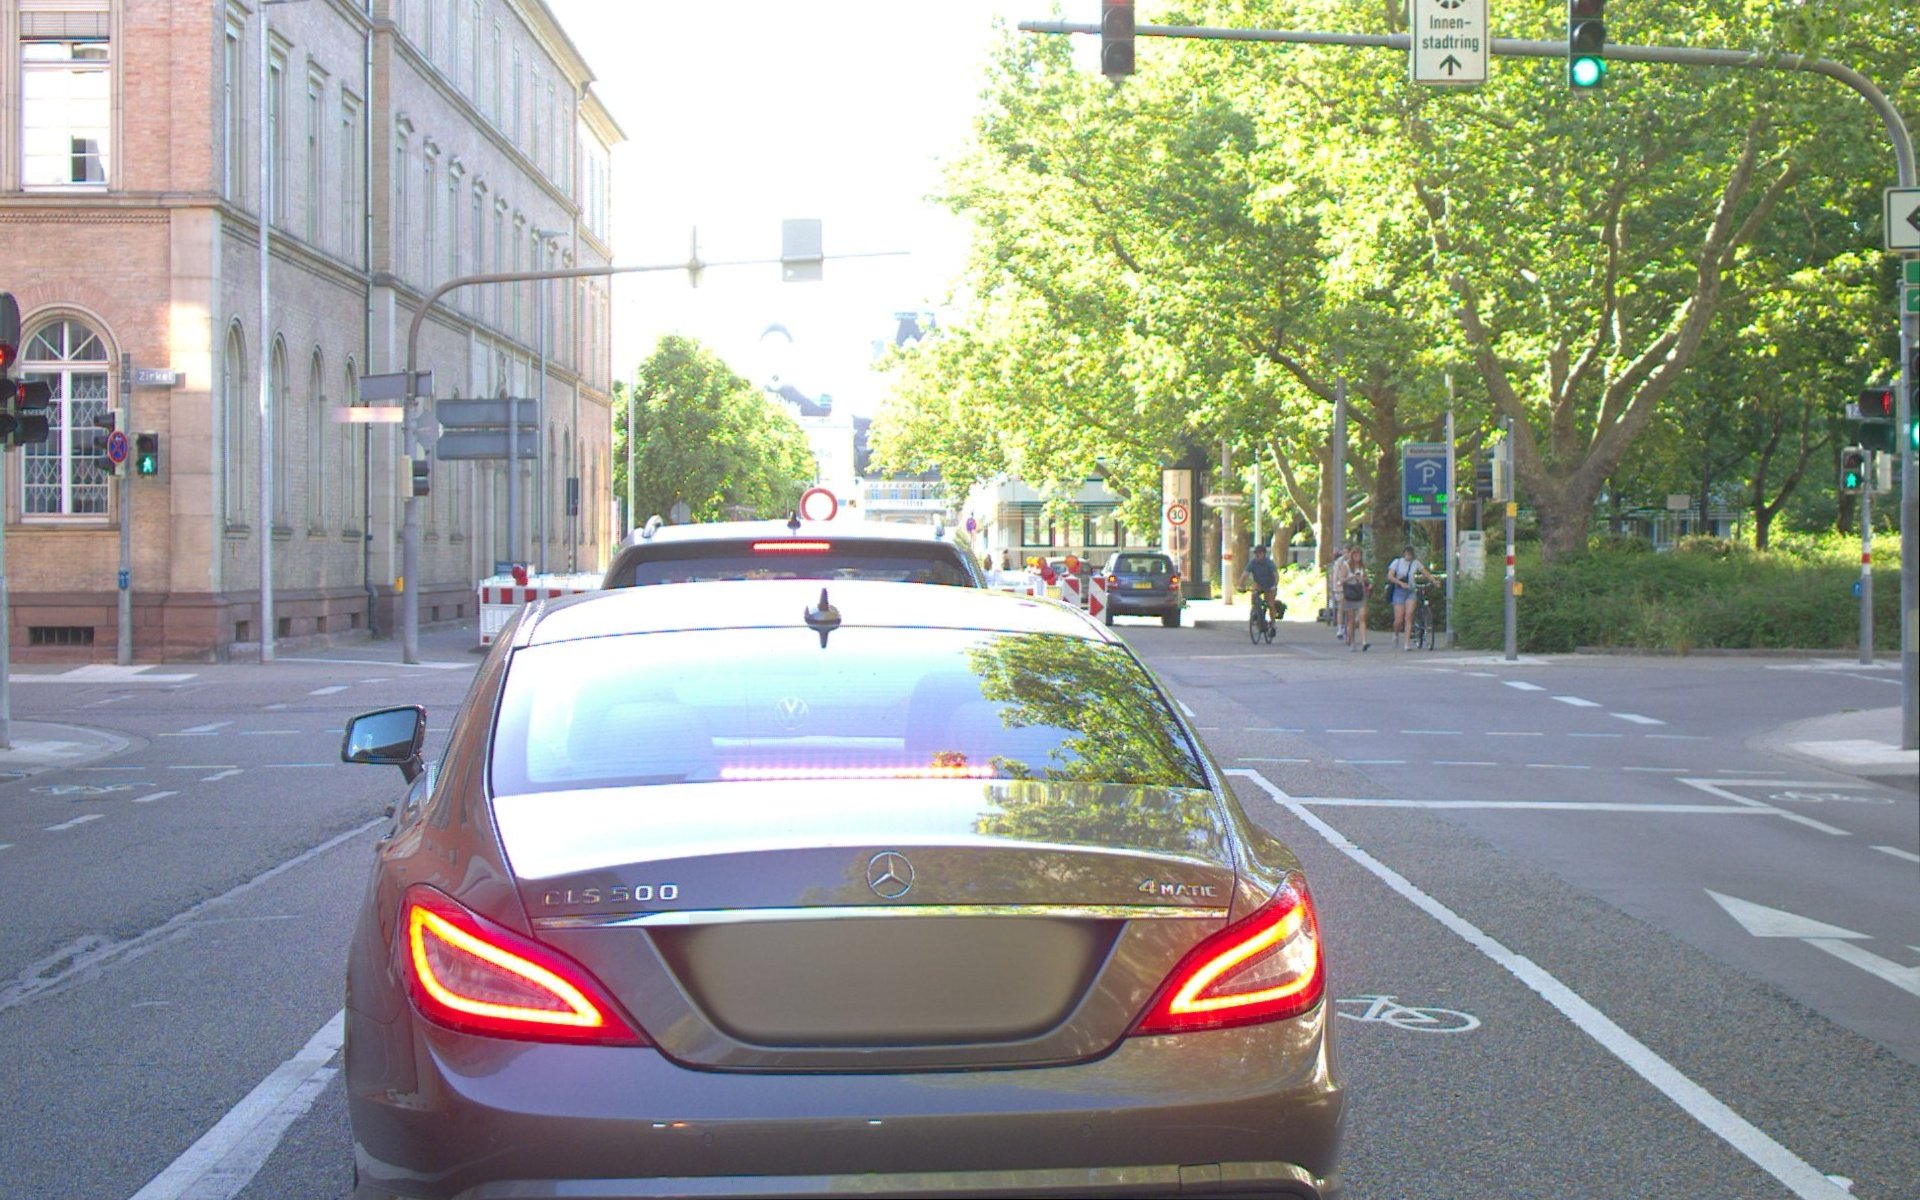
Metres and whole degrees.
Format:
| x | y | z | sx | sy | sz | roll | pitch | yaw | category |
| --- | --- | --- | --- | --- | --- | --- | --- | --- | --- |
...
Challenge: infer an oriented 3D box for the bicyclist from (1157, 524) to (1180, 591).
| x | y | z | sx | sy | sz | roll | pitch | yaw | category |
| --- | --- | --- | --- | --- | --- | --- | --- | --- | --- |
| 6.372 | -1.298 | 104.970 | 0.594 | 2.032 | 0.566 | 1 | 0 | -4 | bicyclist |

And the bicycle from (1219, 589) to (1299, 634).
| x | y | z | sx | sy | sz | roll | pitch | yaw | category |
| --- | --- | --- | --- | --- | --- | --- | --- | --- | --- |
| 5.390 | 0.203 | 61.925 | 0.724 | 0.788 | 1.925 | 1 | 1 | 28 | bicycle |

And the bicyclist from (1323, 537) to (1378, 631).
| x | y | z | sx | sy | sz | roll | pitch | yaw | category |
| --- | --- | --- | --- | --- | --- | --- | --- | --- | --- |
| 6.786 | -0.285 | 59.794 | 0.825 | 1.612 | 0.957 | 1 | 0 | -1 | bicyclist |

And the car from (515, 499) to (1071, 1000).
| x | y | z | sx | sy | sz | roll | pitch | yaw | category |
| --- | --- | --- | --- | --- | --- | --- | --- | --- | --- |
| -0.587 | 0.471 | 13.609 | 1.861 | 1.677 | 4.000 | 1 | 1 | -1 | car |

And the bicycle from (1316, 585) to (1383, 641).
| x | y | z | sx | sy | sz | roll | pitch | yaw | category |
| --- | --- | --- | --- | --- | --- | --- | --- | --- | --- |
| 6.781 | 0.214 | 59.900 | 0.828 | 0.921 | 2.617 | 1 | 1 | -1 | bicycle |

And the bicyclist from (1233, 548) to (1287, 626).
| x | y | z | sx | sy | sz | roll | pitch | yaw | category |
| --- | --- | --- | --- | --- | --- | --- | --- | --- | --- |
| 5.394 | -0.239 | 61.901 | 0.734 | 1.393 | 0.697 | 1 | 0 | 28 | bicyclist |

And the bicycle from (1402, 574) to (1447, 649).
| x | y | z | sx | sy | sz | roll | pitch | yaw | category |
| --- | --- | --- | --- | --- | --- | --- | --- | --- | --- |
| 7.552 | 0.178 | 55.953 | 0.482 | 1.198 | 1.606 | 1 | 0 | -1 | bicycle |

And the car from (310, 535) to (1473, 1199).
| x | y | z | sx | sy | sz | roll | pitch | yaw | category |
| --- | --- | --- | --- | --- | --- | --- | --- | --- | --- |
| -0.366 | 0.625 | 7.479 | 1.861 | 1.514 | 4.001 | 0 | 1 | -8 | car |

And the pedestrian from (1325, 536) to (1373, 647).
| x | y | z | sx | sy | sz | roll | pitch | yaw | category |
| --- | --- | --- | --- | --- | --- | --- | --- | --- | --- |
| 6.354 | -0.142 | 56.200 | 0.635 | 1.791 | 0.699 | 1 | 0 | -4 | pedestrian |

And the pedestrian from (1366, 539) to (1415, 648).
| x | y | z | sx | sy | sz | roll | pitch | yaw | category |
| --- | --- | --- | --- | --- | --- | --- | --- | --- | --- |
| 7.014 | -0.110 | 56.043 | 0.635 | 1.754 | 0.699 | 1 | 0 | -4 | pedestrian |
